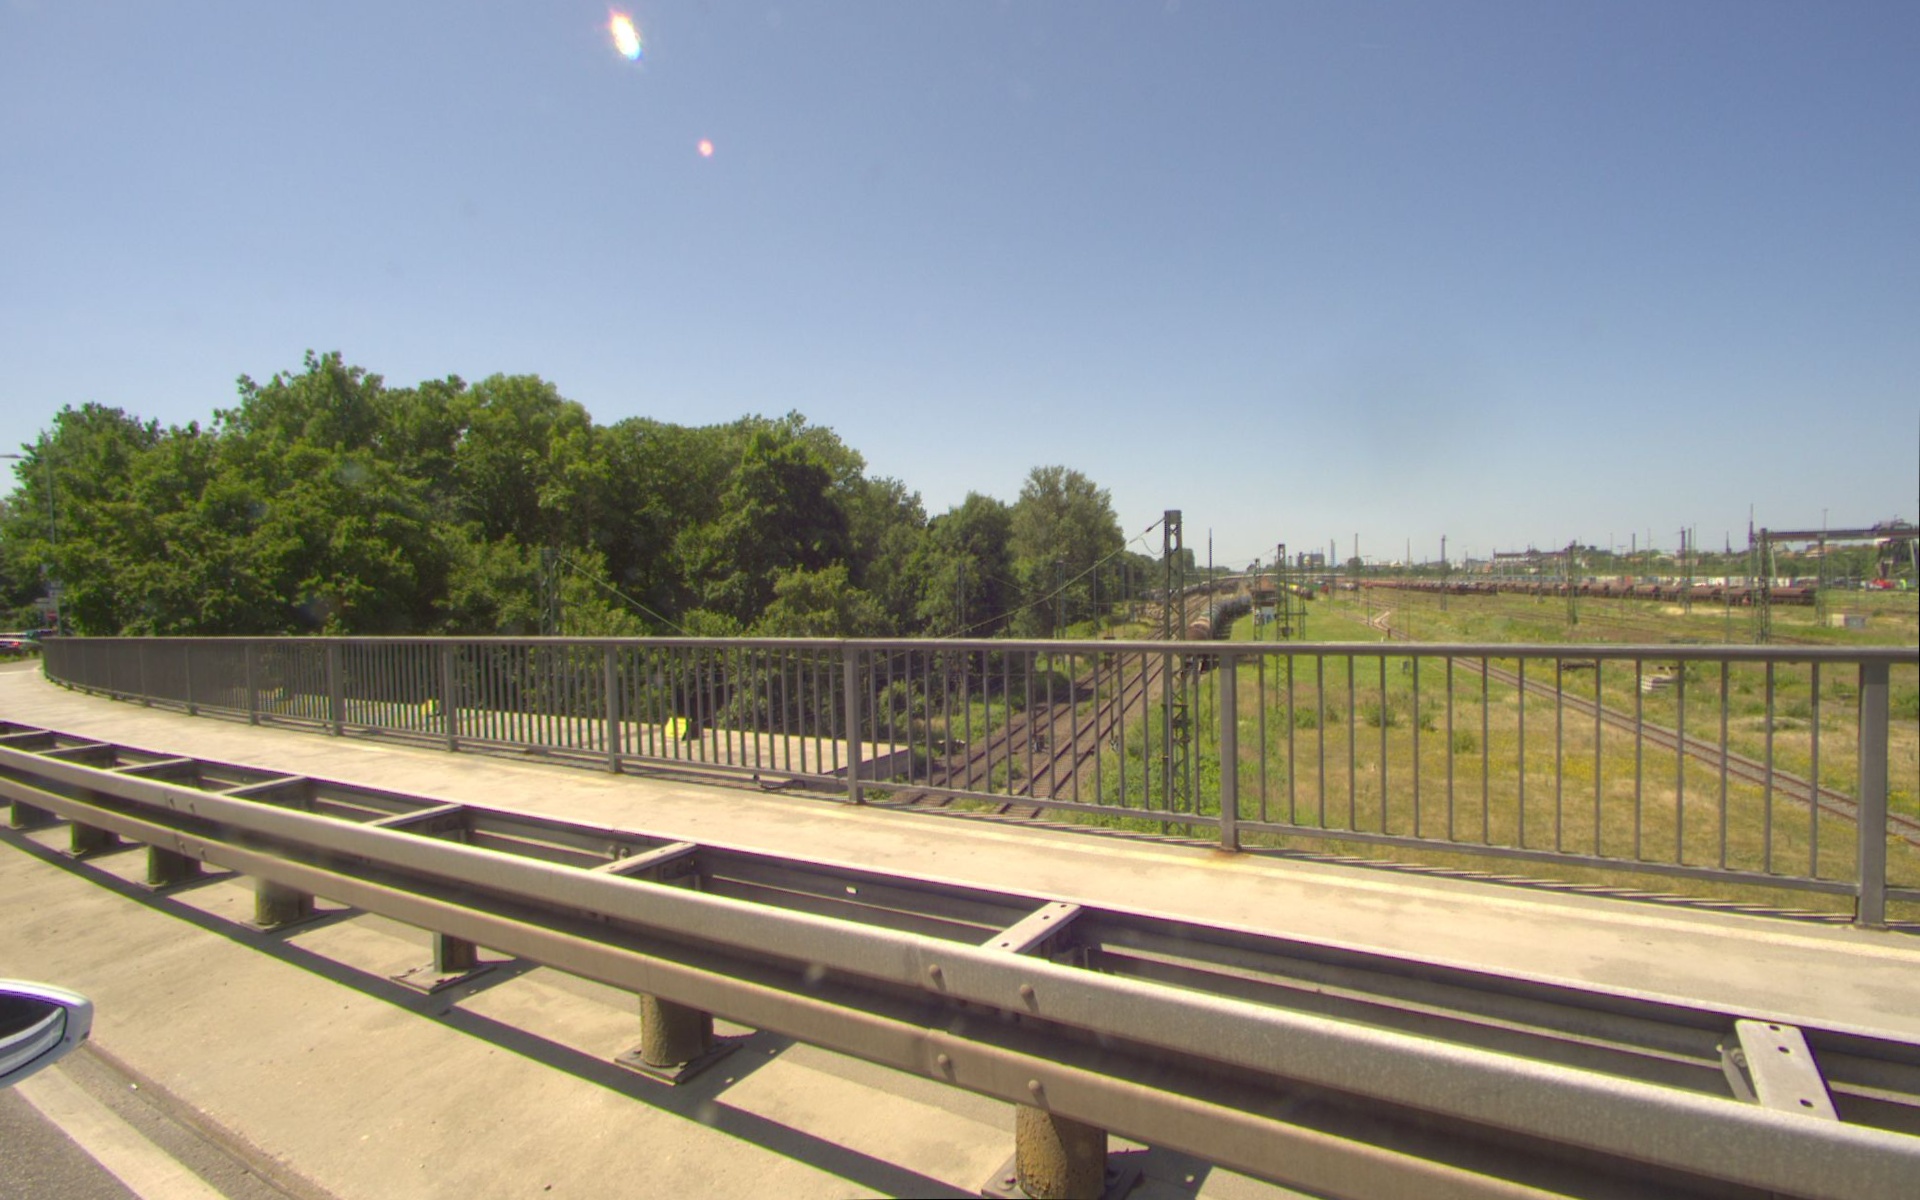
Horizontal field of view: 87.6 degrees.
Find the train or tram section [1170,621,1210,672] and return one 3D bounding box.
[{"bbox_3d":[24.653,4.835,106.962,3.781,4.366,13.612,-2,1,14],"label":"train or tram section"}]

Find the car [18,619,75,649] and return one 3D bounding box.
[{"bbox_3d":[-56.313,2.072,61.798,1.666,1.783,3.982,0,-2,-29],"label":"car"}]

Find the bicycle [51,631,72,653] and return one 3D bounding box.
[{"bbox_3d":[-44.878,2.085,50.002,1.468,1.050,0.578,-1,2,42],"label":"bicycle"}]

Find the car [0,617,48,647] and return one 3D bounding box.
[{"bbox_3d":[-52.990,1.809,56.098,1.972,1.594,3.981,2,-4,-31],"label":"car"}]

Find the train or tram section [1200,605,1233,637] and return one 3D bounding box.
[{"bbox_3d":[40.805,3.224,158.863,3.784,4.366,13.599,-2,1,19],"label":"train or tram section"}]

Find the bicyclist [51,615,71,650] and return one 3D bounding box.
[{"bbox_3d":[-44.878,1.629,49.974,0.721,1.706,0.574,0,3,42],"label":"bicyclist"}]

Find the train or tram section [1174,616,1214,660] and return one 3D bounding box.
[{"bbox_3d":[28.202,4.443,120.144,3.783,4.366,13.605,-2,1,17],"label":"train or tram section"}]
